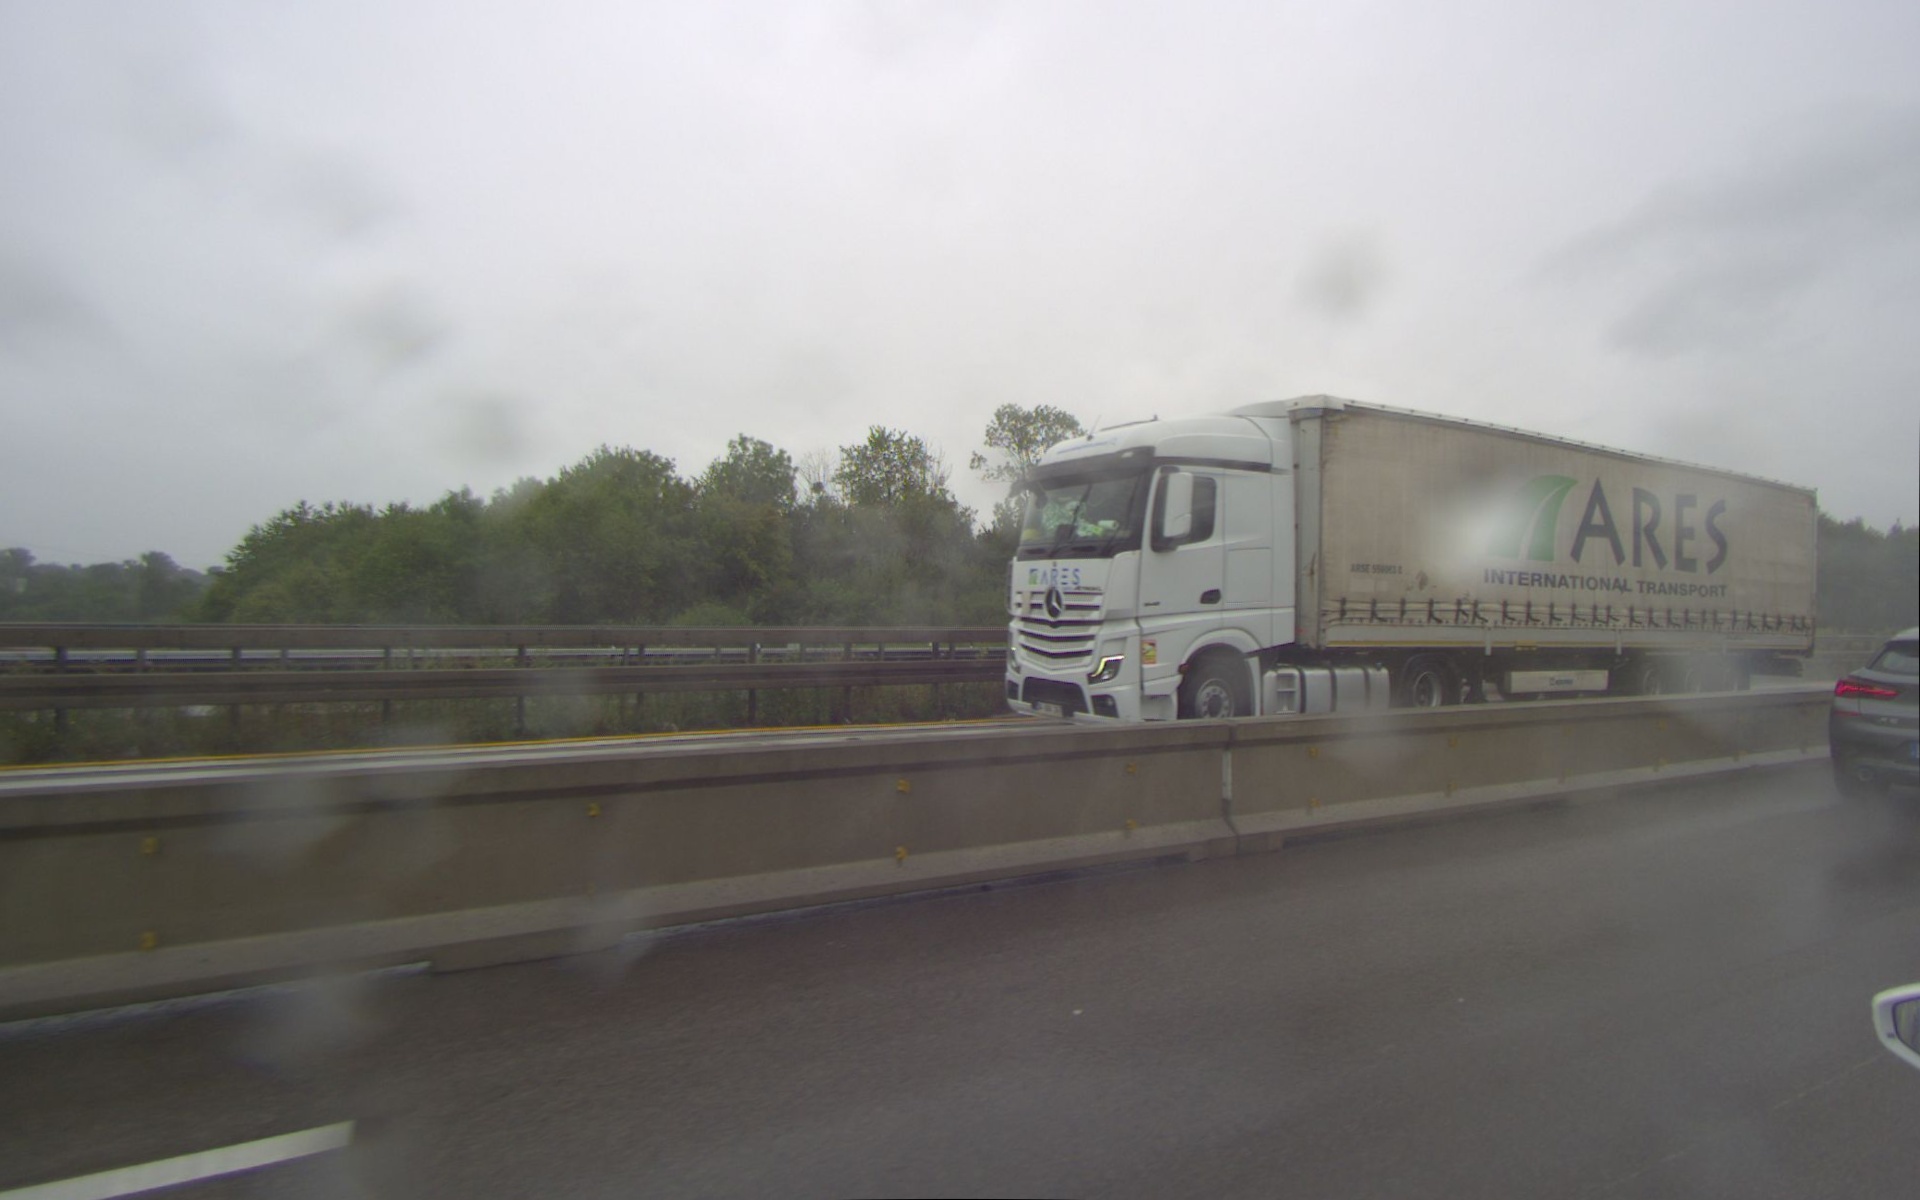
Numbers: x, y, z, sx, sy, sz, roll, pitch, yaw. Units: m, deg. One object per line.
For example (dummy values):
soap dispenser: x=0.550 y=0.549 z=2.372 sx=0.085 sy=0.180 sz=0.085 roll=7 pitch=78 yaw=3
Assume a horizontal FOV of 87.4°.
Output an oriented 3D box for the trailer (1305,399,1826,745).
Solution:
trailer: x=10.672 y=-0.186 z=16.958 sx=11.065 sy=4.502 sz=2.472 roll=2 pitch=0 yaw=-30

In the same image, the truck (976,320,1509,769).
truck: x=3.809 y=-0.460 z=12.924 sx=6.801 sy=4.522 sz=2.490 roll=2 pitch=0 yaw=-30

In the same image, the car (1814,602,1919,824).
car: x=9.178 y=0.898 z=8.390 sx=4.790 sy=1.619 sz=1.692 roll=2 pitch=-1 yaw=-31
